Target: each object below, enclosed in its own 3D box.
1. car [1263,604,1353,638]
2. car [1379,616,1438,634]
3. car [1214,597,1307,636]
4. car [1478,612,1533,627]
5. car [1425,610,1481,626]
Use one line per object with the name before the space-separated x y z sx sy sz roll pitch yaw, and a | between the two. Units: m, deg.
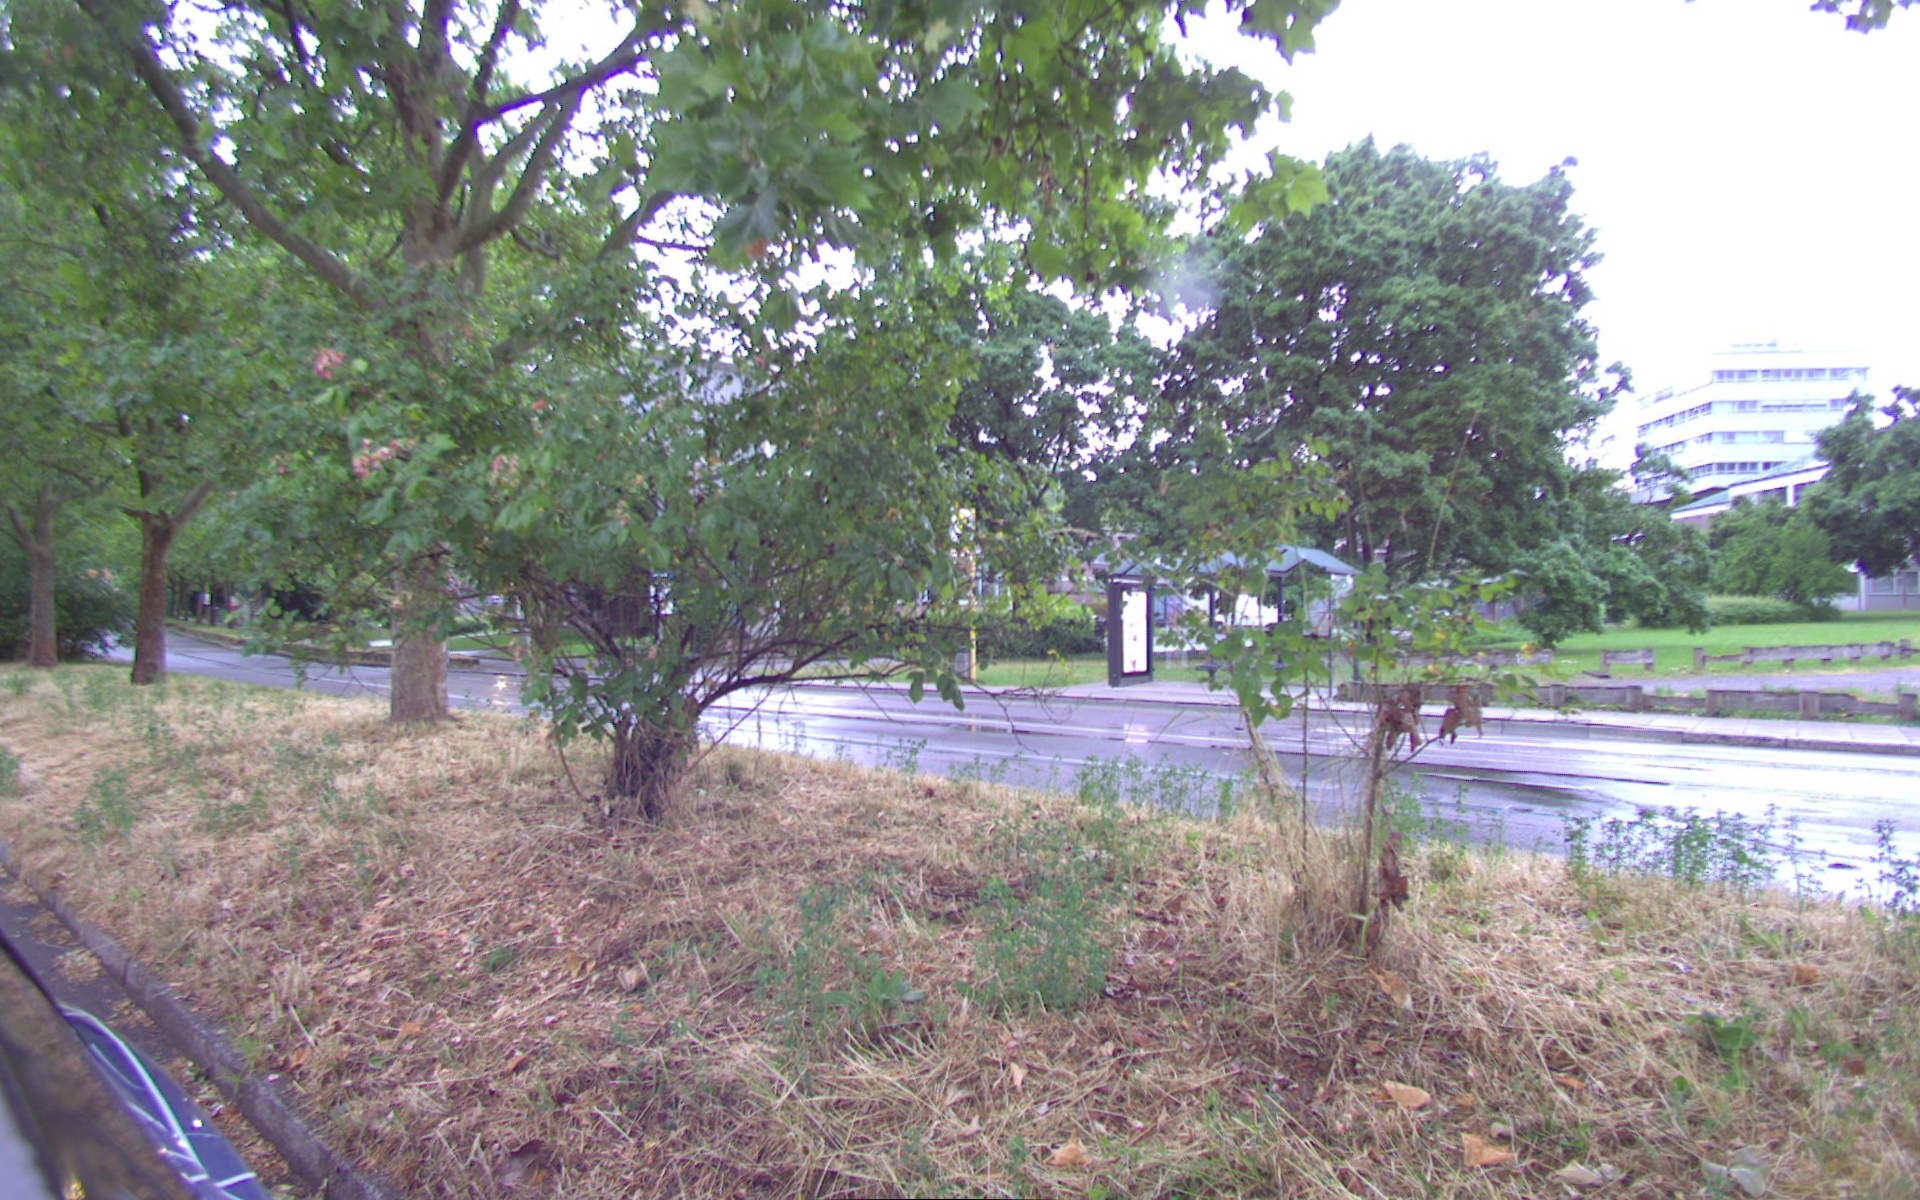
car | 22.359 1.296 65.245 2.251 2.037 5.091 -1 1 -36
car | 32.243 1.789 72.757 1.566 1.151 3.564 -1 1 -37
car | 18.609 0.971 62.922 2.080 2.229 5.483 -1 1 -33
car | 43.951 1.546 81.598 1.566 1.151 3.564 -1 1 -37
car | 37.716 1.367 77.474 1.566 1.151 3.564 -1 1 -37
